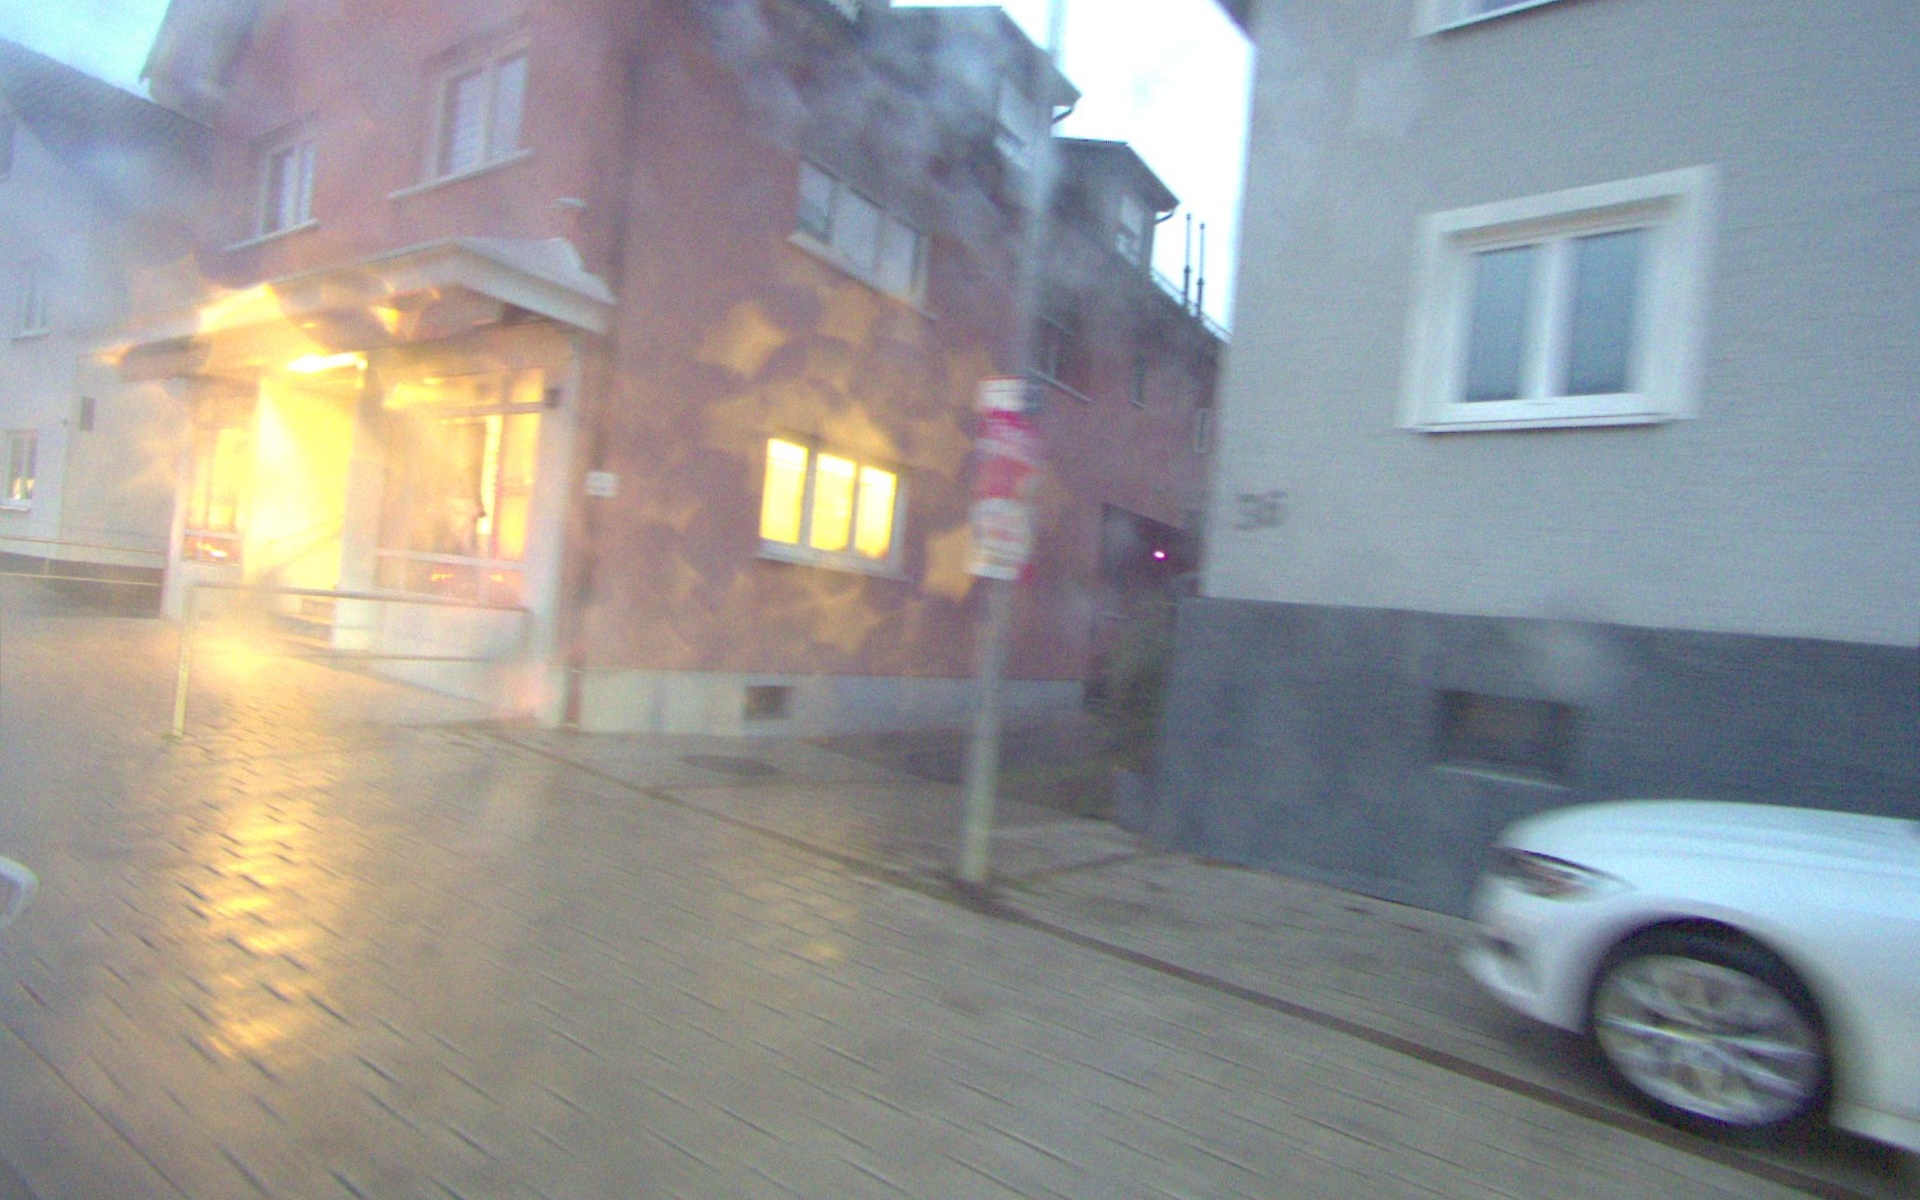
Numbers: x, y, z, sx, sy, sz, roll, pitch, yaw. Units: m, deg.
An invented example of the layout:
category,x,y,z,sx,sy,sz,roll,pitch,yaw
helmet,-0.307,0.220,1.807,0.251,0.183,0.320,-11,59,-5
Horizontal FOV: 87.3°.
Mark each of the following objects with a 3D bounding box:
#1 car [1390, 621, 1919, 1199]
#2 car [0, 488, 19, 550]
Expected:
category,x,y,z,sx,sy,sz,roll,pitch,yaw
car,3.968,1.124,2.796,4.630,1.502,1.929,6,-2,41
car,-25.585,-2.230,24.205,1.884,1.504,3.986,5,-1,37
